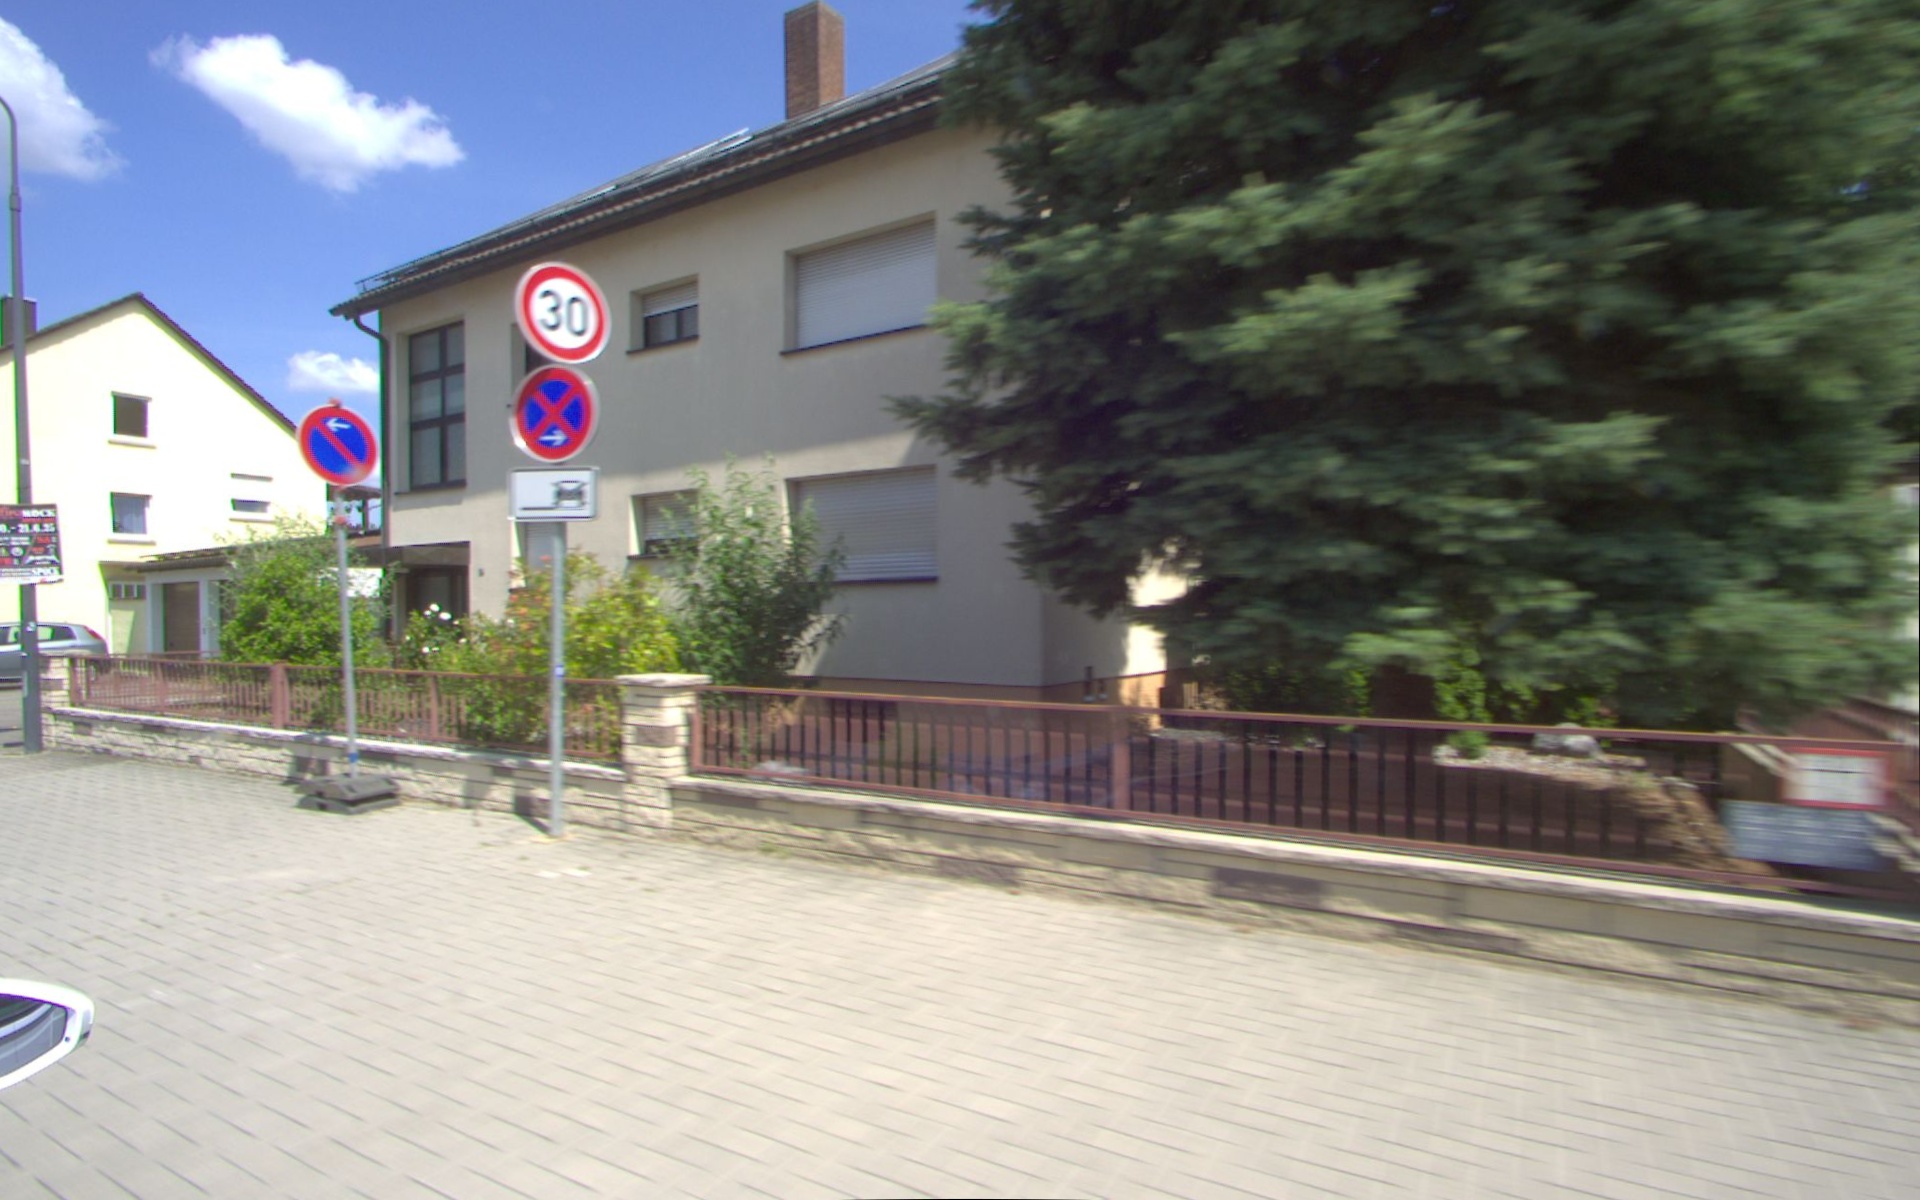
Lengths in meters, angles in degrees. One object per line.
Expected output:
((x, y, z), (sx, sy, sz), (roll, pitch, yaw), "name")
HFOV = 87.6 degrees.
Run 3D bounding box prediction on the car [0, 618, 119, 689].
((-21.175, 1.162, 21.866), (1.721, 1.492, 3.979), (-1, -1, 32), "car")
